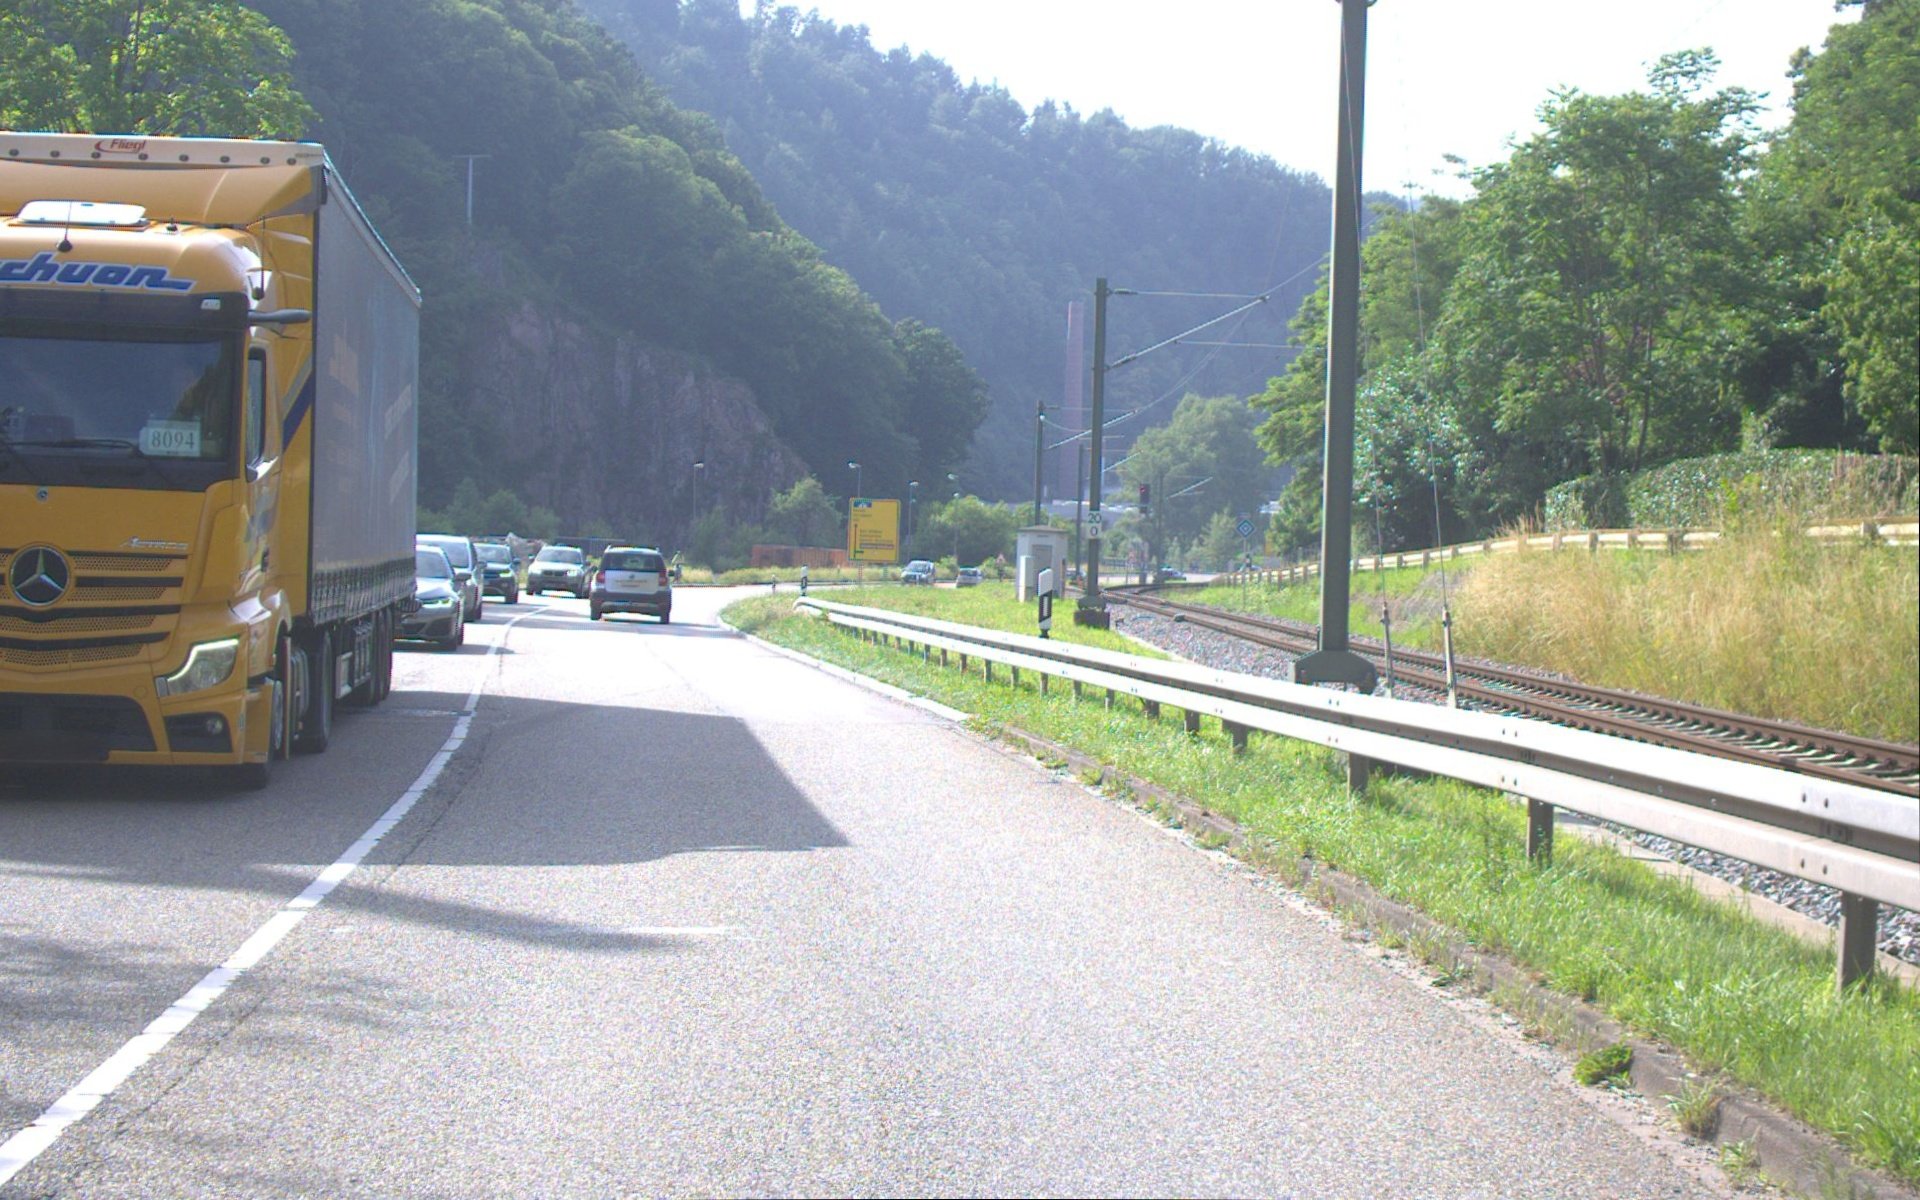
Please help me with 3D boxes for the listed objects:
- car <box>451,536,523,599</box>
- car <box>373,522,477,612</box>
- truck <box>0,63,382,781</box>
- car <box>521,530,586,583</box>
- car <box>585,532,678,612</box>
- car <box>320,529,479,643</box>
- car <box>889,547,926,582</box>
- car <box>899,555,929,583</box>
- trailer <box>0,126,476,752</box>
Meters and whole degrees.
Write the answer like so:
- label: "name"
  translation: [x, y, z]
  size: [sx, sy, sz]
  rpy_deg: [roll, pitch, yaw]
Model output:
- label: "car"
  translation: [-12.714, -0.888, 92.557]
  size: [1.798, 1.551, 4.333]
  rpy_deg: [3, 1, -7]
- label: "car"
  translation: [-10.413, -0.669, 67.165]
  size: [1.773, 1.664, 4.648]
  rpy_deg: [1, 1, -6]
- label: "truck"
  translation: [-5.481, -1.058, 22.469]
  size: [2.741, 4.014, 6.413]
  rpy_deg: [0, 1, -4]
- label: "car"
  translation: [-13.544, -1.454, 114.726]
  size: [1.993, 1.623, 4.508]
  rpy_deg: [3, 1, -6]
- label: "car"
  translation: [-7.306, -0.624, 76.691]
  size: [1.993, 1.717, 3.991]
  rpy_deg: [1, 1, -5]
- label: "car"
  translation: [-7.966, -0.219, 49.188]
  size: [1.836, 1.491, 4.937]
  rpy_deg: [2, 1, -5]
- label: "car"
  translation: [-3.013, -2.064, 198.661]
  size: [1.993, 2.007, 4.000]
  rpy_deg: [0, 1, 1]
- label: "car"
  translation: [-3.168, -2.110, 235.267]
  size: [1.851, 1.778, 4.684]
  rpy_deg: [4, 1, 0]
- label: "trailer"
  translation: [-5.950, -1.158, 28.888]
  size: [2.856, 3.999, 13.673]
  rpy_deg: [0, 1, -4]
